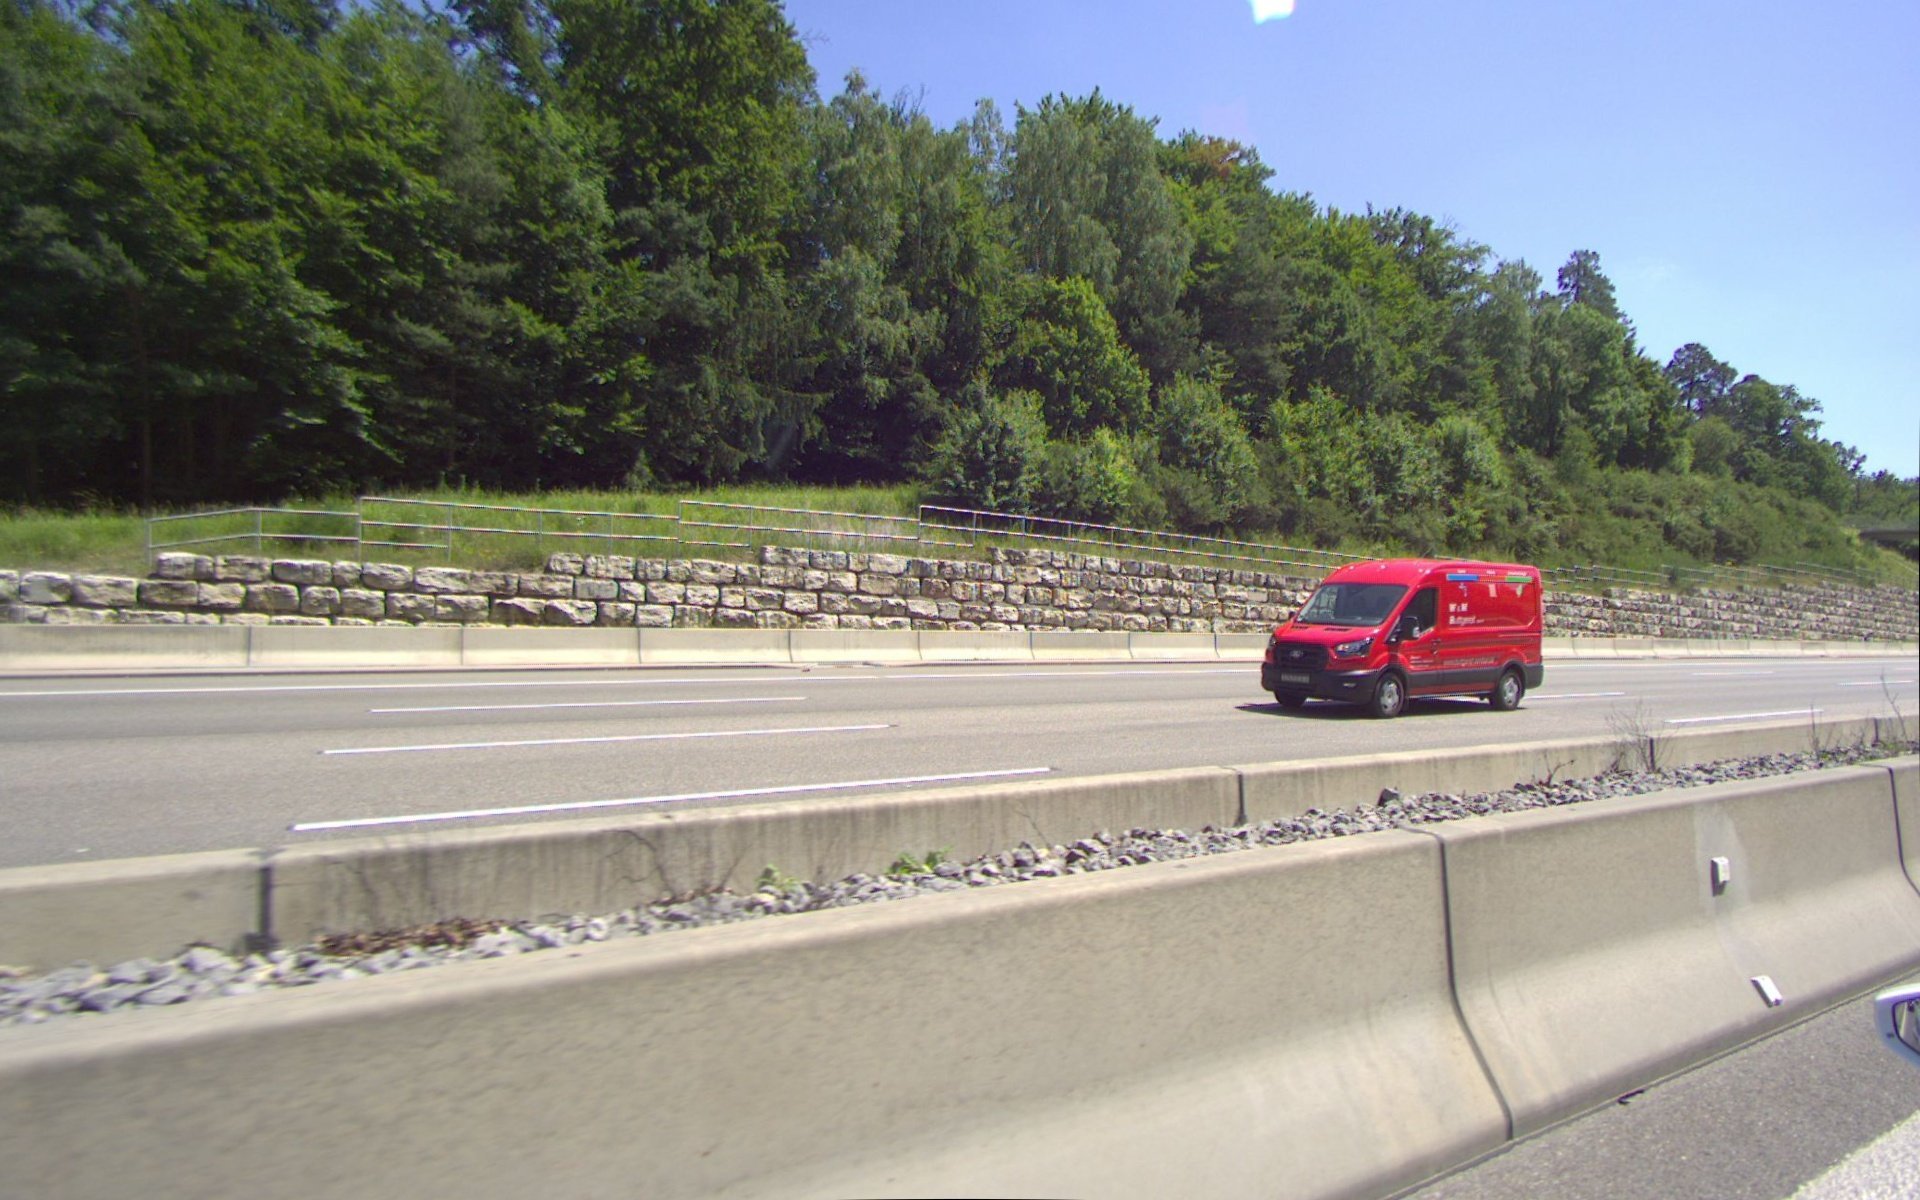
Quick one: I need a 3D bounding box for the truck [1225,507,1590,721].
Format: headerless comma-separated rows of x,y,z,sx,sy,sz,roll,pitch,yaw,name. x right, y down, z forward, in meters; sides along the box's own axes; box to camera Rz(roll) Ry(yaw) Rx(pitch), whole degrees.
7.696,0.199,16.896,6.937,3.016,2.098,0,1,-32,truck
